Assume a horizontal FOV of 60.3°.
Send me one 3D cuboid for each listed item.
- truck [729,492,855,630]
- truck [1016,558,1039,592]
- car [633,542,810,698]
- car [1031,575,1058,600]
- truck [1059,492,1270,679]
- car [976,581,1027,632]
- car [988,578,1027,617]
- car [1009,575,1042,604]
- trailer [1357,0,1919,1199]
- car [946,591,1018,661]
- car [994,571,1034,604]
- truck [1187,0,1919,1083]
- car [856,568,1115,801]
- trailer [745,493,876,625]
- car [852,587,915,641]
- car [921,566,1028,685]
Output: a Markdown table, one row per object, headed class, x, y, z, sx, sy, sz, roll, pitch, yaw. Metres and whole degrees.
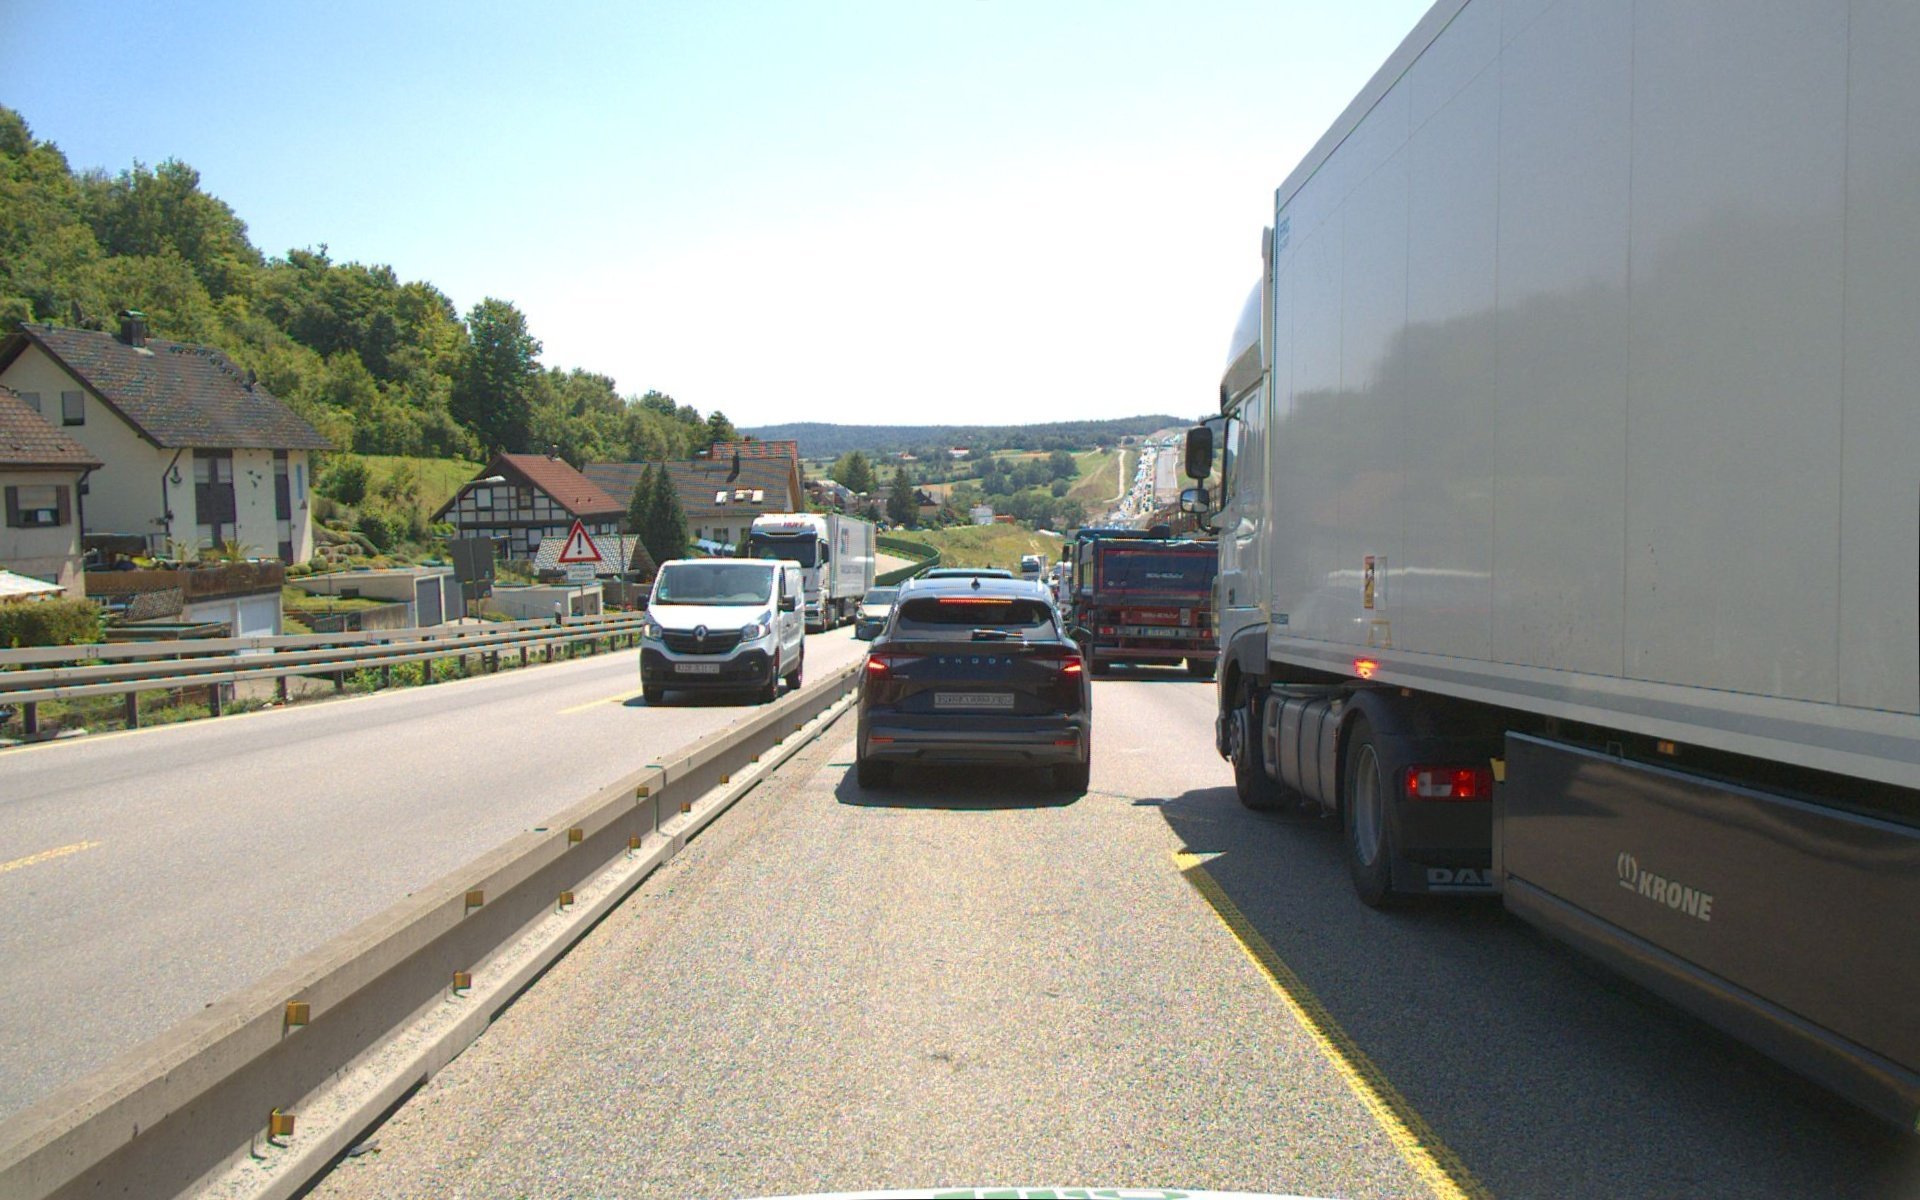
| class | x | y | z | sx | sy | sz | roll | pitch | yaw |
| --- | --- | --- | --- | --- | --- | --- | --- | --- | --- |
| truck | -5.746 | -1.261 | 58.092 | 3.235 | 4.438 | 8.303 | 1 | 0 | 2 |
| truck | 8.896 | -3.220 | 216.988 | 2.694 | 4.358 | 4.960 | 1 | 1 | 5 |
| car | -3.375 | 0.273 | 24.321 | 1.953 | 2.046 | 4.857 | 0 | 0 | -1 |
| car | 6.126 | -0.877 | 119.824 | 1.665 | 1.758 | 3.839 | 1 | 0 | 6 |
| truck | 3.963 | -0.228 | 35.423 | 3.129 | 3.247 | 12.810 | 1 | 0 | 1 |
| car | 1.453 | 0.189 | 57.501 | 1.671 | 1.650 | 4.001 | 1 | 1 | 1 |
| car | 2.101 | -0.133 | 73.649 | 1.671 | 1.650 | 4.001 | 1 | 1 | 1 |
| car | 3.921 | -0.609 | 98.969 | 1.952 | 1.613 | 3.837 | 1 | 0 | 2 |
| trailer | 3.332 | -0.691 | 2.266 | 2.480 | 4.199 | 11.544 | 1 | 0 | -1 |
| car | 0.534 | 0.643 | 43.326 | 1.672 | 1.650 | 3.999 | 1 | 1 | -2 |
| car | 2.798 | -0.623 | 84.918 | 1.952 | 1.613 | 3.837 | 1 | 0 | 2 |
| truck | 3.182 | -0.566 | 9.144 | 2.462 | 4.095 | 8.235 | 1 | 0 | -1 |
| car | 0.116 | 0.607 | 13.690 | 1.805 | 1.614 | 3.906 | 1 | 0 | -2 |
| trailer | -5.493 | -1.366 | 63.766 | 3.184 | 4.455 | 14.062 | 1 | 0 | 2 |
| car | -2.357 | 0.422 | 51.844 | 1.808 | 1.601 | 3.999 | 0 | 0 | -1 |
| car | 0.194 | 0.387 | 29.245 | 1.672 | 1.914 | 3.999 | 1 | 1 | -2 |
